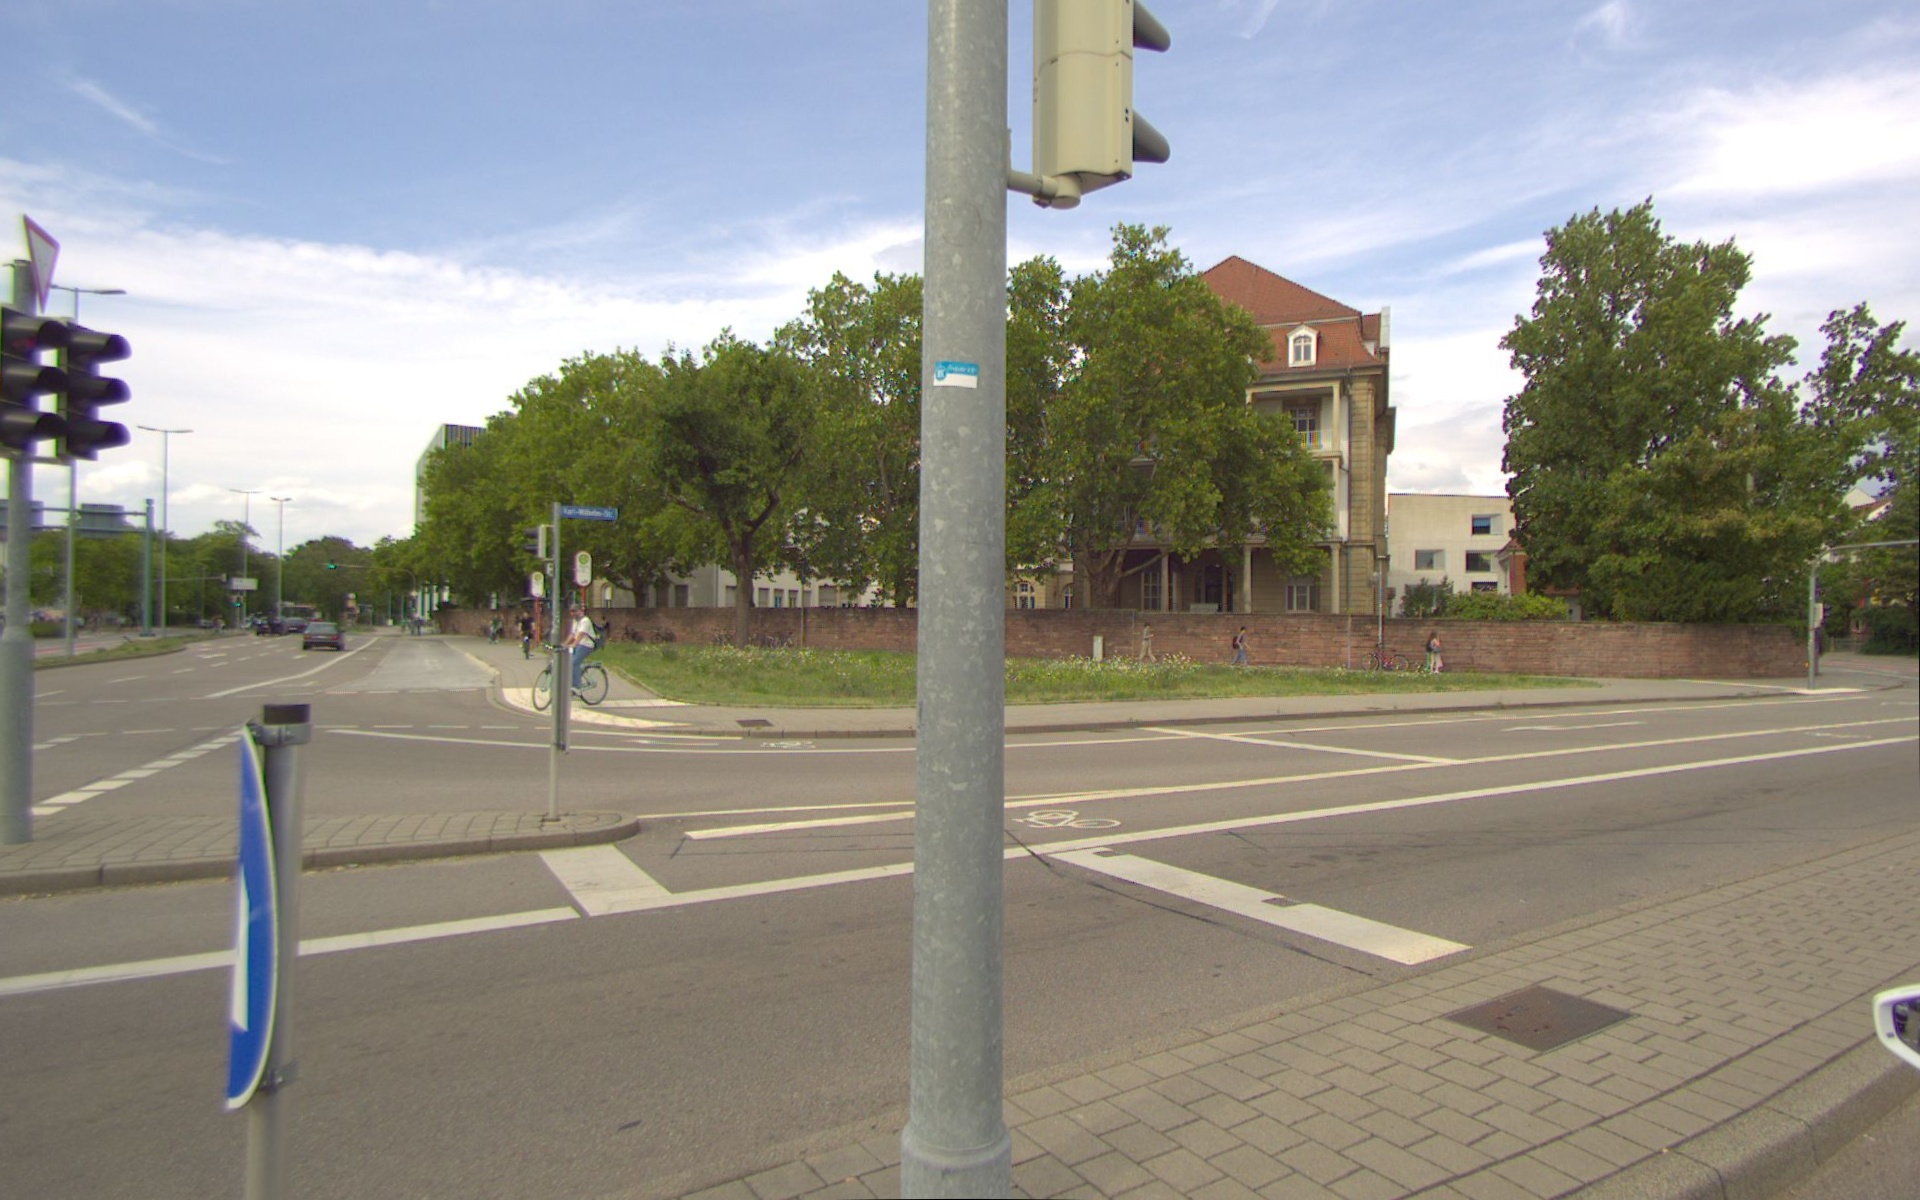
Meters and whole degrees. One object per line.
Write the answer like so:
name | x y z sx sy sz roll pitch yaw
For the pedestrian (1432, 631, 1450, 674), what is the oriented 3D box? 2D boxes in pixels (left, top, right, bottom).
pedestrian | 19.160 2.093 40.018 0.618 1.677 0.531 -1 0 21

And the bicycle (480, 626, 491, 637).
bicycle | -38.834 2.578 82.237 0.429 0.899 1.558 -3 1 -40

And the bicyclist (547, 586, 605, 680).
bicyclist | -6.668 0.559 17.458 0.568 1.576 0.798 1 1 14

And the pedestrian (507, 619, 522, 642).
pedestrian | -33.091 2.280 74.615 0.652 1.643 0.755 -1 0 20

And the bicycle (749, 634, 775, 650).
bicycle | -10.920 2.300 55.352 1.864 0.875 0.357 -1 -4 42

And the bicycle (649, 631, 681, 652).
bicycle | -17.807 2.517 60.629 2.067 1.204 0.755 -1 -4 40

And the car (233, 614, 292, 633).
car | -64.380 2.191 92.746 4.048 1.509 1.791 2 -2 1

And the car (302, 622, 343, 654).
car | -33.536 1.951 52.806 1.683 1.500 4.375 -1 0 -34

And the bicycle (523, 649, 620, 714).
bicycle | -6.689 1.377 17.402 0.496 0.948 1.972 1 1 14

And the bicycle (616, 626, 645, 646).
bicycle | -20.692 2.238 63.059 2.067 1.204 0.755 -1 -4 40

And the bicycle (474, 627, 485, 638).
bicycle | -40.043 2.692 83.675 0.429 0.899 1.558 -3 1 -40

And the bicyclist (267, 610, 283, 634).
bicyclist | -51.569 1.647 75.641 0.768 1.733 1.079 3 -3 -26

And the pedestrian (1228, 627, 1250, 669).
pedestrian | 11.460 1.968 41.272 0.766 1.677 0.577 -1 0 1

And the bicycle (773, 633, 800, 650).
bicycle | -9.462 2.275 54.734 1.680 0.875 0.358 -1 -3 36

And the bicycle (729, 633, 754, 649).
bicycle | -12.304 2.322 56.587 1.783 0.875 0.357 -1 -4 41

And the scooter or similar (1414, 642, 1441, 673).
scooter or similar | 18.996 2.332 40.783 0.513 1.154 1.510 -1 0 44

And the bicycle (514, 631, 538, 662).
bicycle | -15.241 1.627 35.288 0.497 0.948 1.965 1 1 -15

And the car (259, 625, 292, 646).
car | -54.654 2.790 80.251 1.769 1.509 4.098 3 -2 -29

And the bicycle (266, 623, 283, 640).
bicycle | -51.609 2.358 75.620 0.749 1.204 2.085 3 -3 -26

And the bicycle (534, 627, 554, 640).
bicycle | -29.712 2.375 71.718 1.553 0.899 0.658 -2 1 42

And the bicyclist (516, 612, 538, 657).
bicyclist | -15.238 1.207 35.379 0.570 1.576 0.795 1 1 -15

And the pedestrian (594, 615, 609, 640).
pedestrian | -23.234 1.782 65.107 0.743 1.643 0.566 -1 0 39

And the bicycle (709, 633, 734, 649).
bicycle | -13.712 2.345 57.735 1.794 0.875 0.357 -1 -4 38

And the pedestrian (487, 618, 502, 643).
pedestrian | -30.645 2.007 66.163 0.747 1.643 0.659 -1 0 -35

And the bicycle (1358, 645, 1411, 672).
bicycle | 17.311 2.389 41.007 1.887 1.018 0.779 -1 0 16

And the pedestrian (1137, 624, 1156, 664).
pedestrian | 8.002 1.871 43.078 0.766 1.677 0.577 -1 0 6

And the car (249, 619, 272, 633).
car | -83.291 3.086 119.575 1.769 1.509 4.098 3 -2 -29

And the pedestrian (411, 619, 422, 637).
pedestrian | -50.317 2.551 93.013 0.747 1.643 0.659 -1 0 -35

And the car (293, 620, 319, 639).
car | -56.449 2.529 86.706 1.771 1.509 4.094 3 -2 -32
